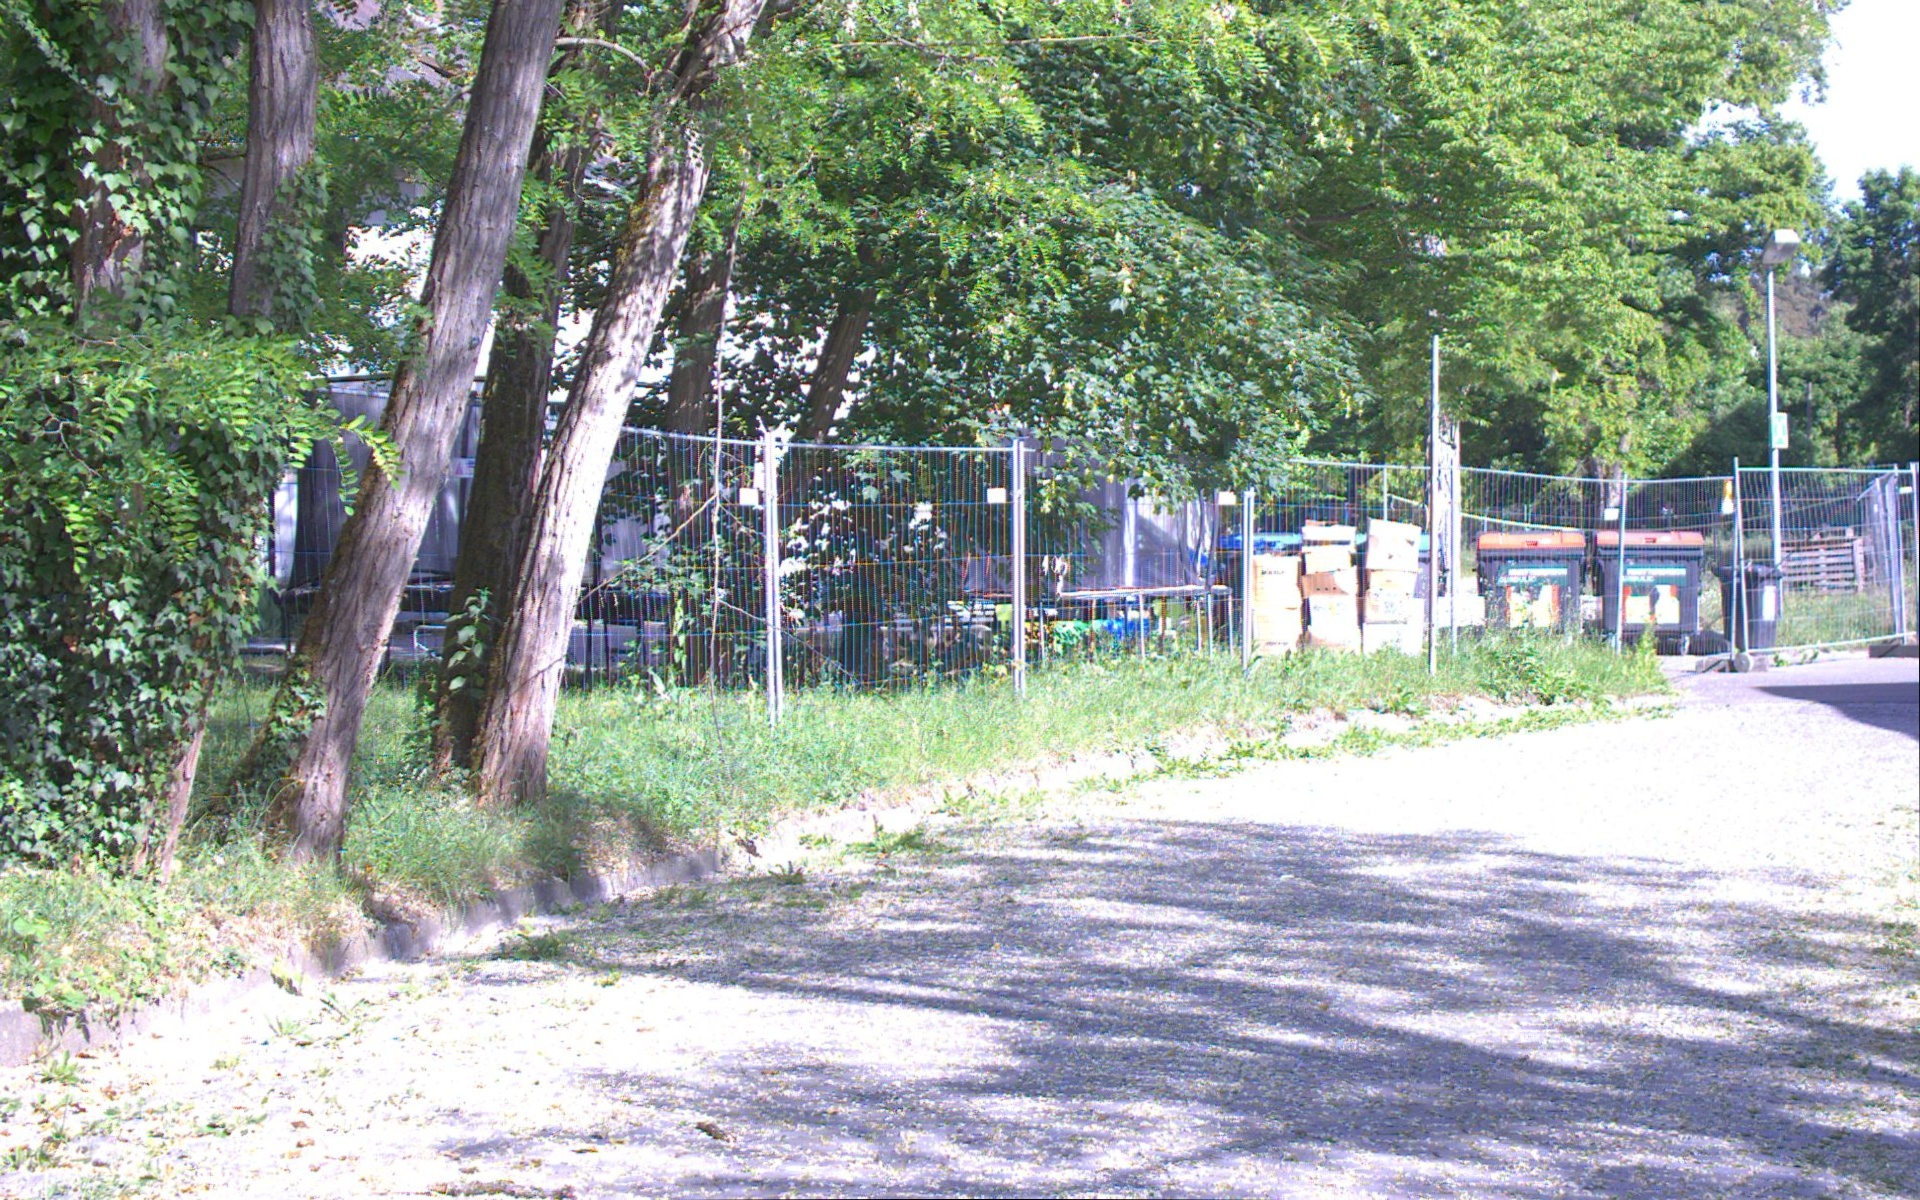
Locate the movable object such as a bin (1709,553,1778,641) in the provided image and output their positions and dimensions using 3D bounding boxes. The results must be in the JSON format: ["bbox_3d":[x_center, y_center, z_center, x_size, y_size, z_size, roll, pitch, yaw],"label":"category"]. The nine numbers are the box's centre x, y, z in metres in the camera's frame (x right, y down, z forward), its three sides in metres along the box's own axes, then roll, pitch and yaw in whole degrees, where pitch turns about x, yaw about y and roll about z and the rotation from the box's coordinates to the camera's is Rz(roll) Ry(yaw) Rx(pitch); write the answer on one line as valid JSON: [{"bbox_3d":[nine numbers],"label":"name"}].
[{"bbox_3d":[9.028,-0.036,39.627,0.642,1.004,0.604,-1,1,26],"label":"movable object such as a bin"}]

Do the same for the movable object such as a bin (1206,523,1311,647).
[{"bbox_3d":[3.535,-0.187,40.634,1.084,1.433,1.055,-1,1,13],"label":"movable object such as a bin"}]

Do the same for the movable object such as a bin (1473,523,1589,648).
[{"bbox_3d":[6.662,-0.173,40.166,1.288,1.421,1.032,-1,1,8],"label":"movable object such as a bin"}]

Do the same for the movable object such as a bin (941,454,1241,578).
[{"bbox_3d":[2.240,-1.409,58.182,4.873,1.963,1.932,-1,1,8],"label":"movable object such as a bin"}]

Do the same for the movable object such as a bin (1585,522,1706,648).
[{"bbox_3d":[7.965,-0.182,39.989,1.287,1.421,1.032,-1,1,7],"label":"movable object such as a bin"}]

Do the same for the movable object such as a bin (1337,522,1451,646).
[{"bbox_3d":[5.111,-0.189,40.457,1.288,1.421,1.032,-1,1,8],"label":"movable object such as a bin"}]
